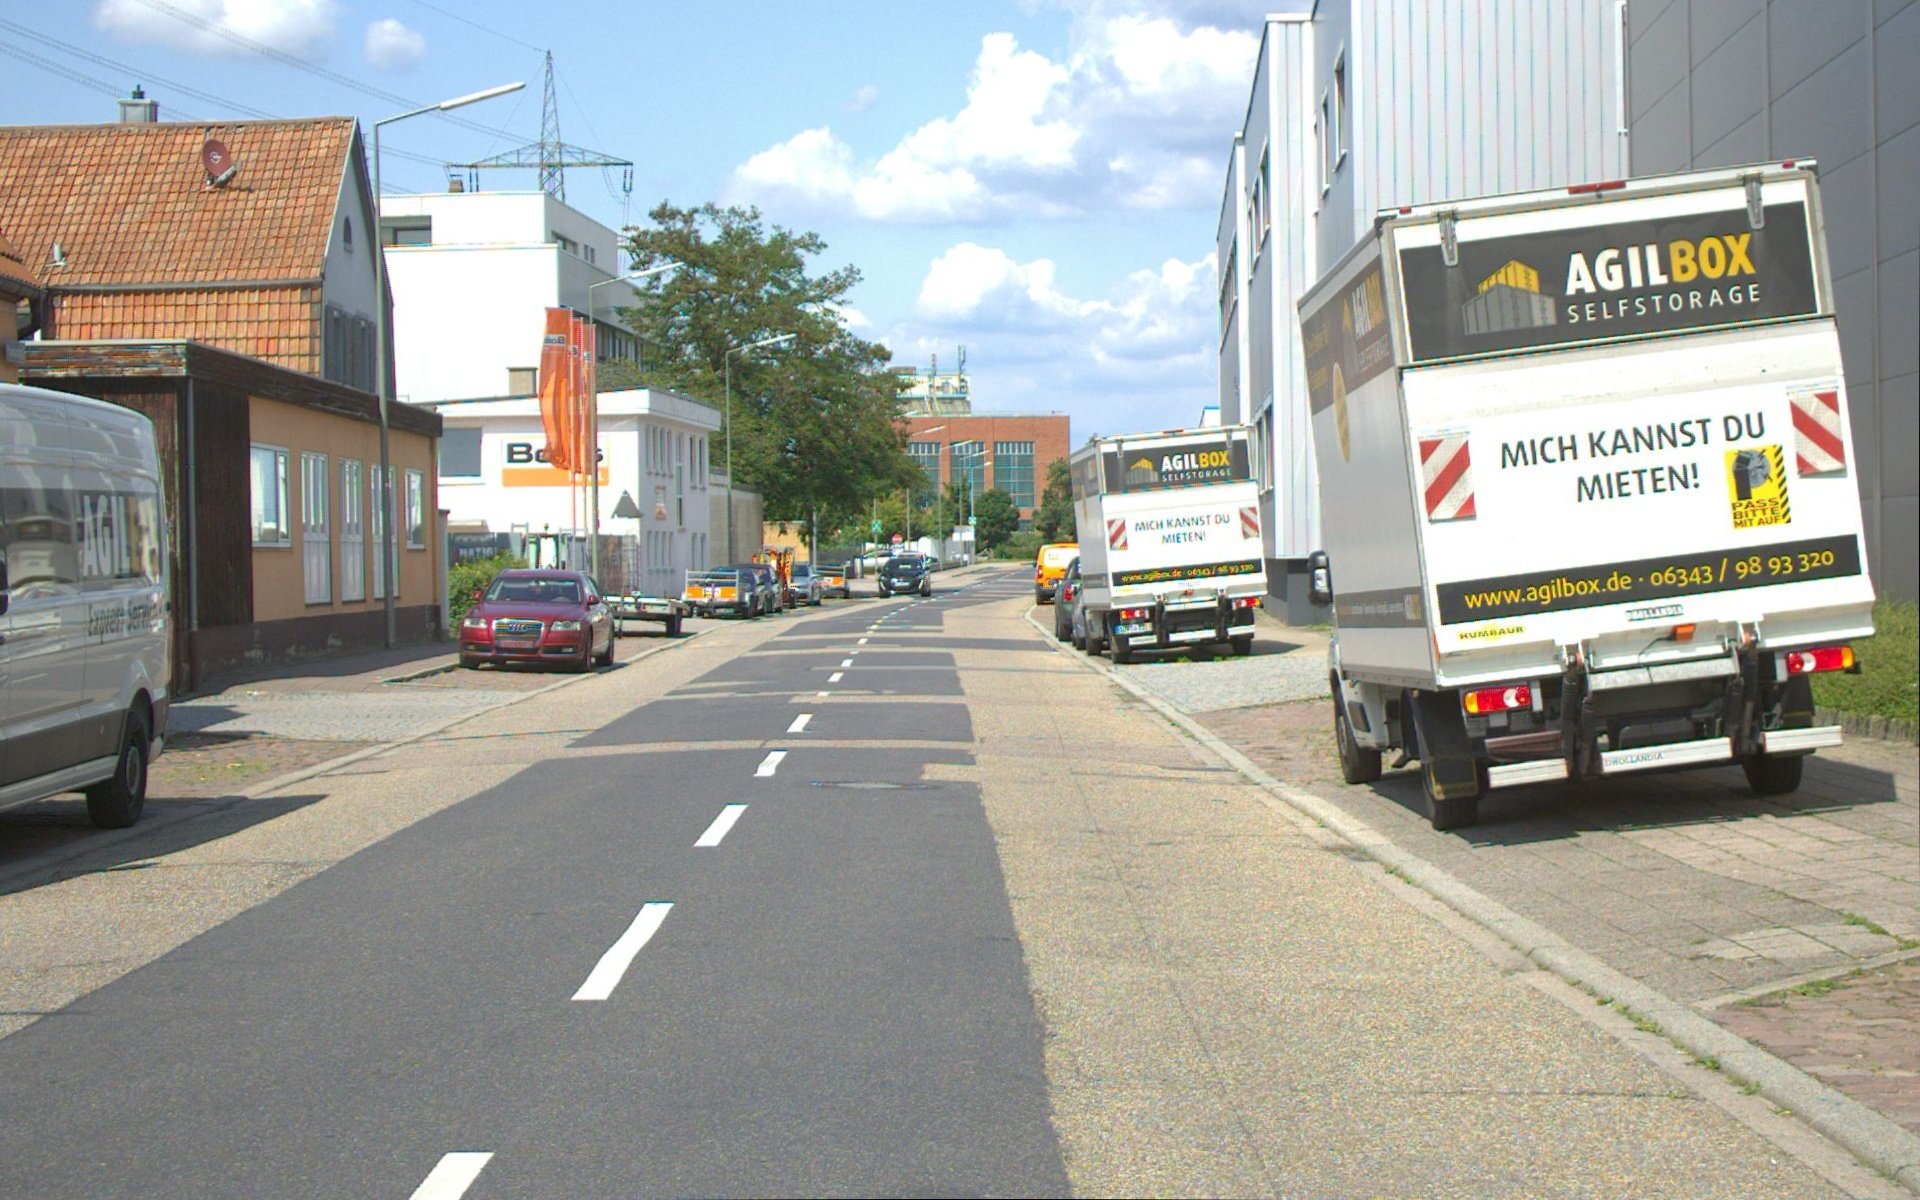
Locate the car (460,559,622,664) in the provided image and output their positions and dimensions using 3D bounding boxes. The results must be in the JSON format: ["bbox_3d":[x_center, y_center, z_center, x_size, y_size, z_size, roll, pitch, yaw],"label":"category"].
[{"bbox_3d":[-6.095,0.135,50.429,1.762,1.442,4.741,1,1,0],"label":"car"}]

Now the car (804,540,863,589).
[{"bbox_3d":[-4.745,-1.316,129.145,1.922,1.788,4.000,1,1,2],"label":"car"}]

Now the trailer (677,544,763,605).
[{"bbox_3d":[-6.281,-0.687,90.385,1.993,1.551,4.254,0,1,0],"label":"trailer"}]

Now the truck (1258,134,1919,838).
[{"bbox_3d":[3.449,-0.615,20.536,2.458,3.282,6.818,-6,1,0],"label":"truck"}]

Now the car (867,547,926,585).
[{"bbox_3d":[-2.251,-1.214,123.114,1.918,1.280,3.614,-1,1,2],"label":"car"}]

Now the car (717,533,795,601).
[{"bbox_3d":[-6.249,-1.016,105.809,1.993,2.007,4.000,1,1,2],"label":"car"}]

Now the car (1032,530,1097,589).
[{"bbox_3d":[3.254,-1.249,106.275,1.940,1.736,4.376,-1,1,2],"label":"car"}]

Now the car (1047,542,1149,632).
[{"bbox_3d":[2.549,-0.252,64.129,1.768,1.607,3.873,-1,1,1],"label":"car"}]

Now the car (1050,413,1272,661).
[{"bbox_3d":[2.917,-0.925,51.668,2.388,3.351,6.646,-3,1,-3],"label":"car"}]

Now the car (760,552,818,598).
[{"bbox_3d":[-5.518,-0.826,111.321,1.668,1.442,3.454,1,1,0],"label":"car"}]

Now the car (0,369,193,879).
[{"bbox_3d":[-5.850,0.099,18.524,2.026,2.552,6.840,1,1,-1],"label":"car"}]

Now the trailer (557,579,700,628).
[{"bbox_3d":[-6.603,0.053,69.139,2.362,0.890,5.569,1,1,0],"label":"trailer"}]
